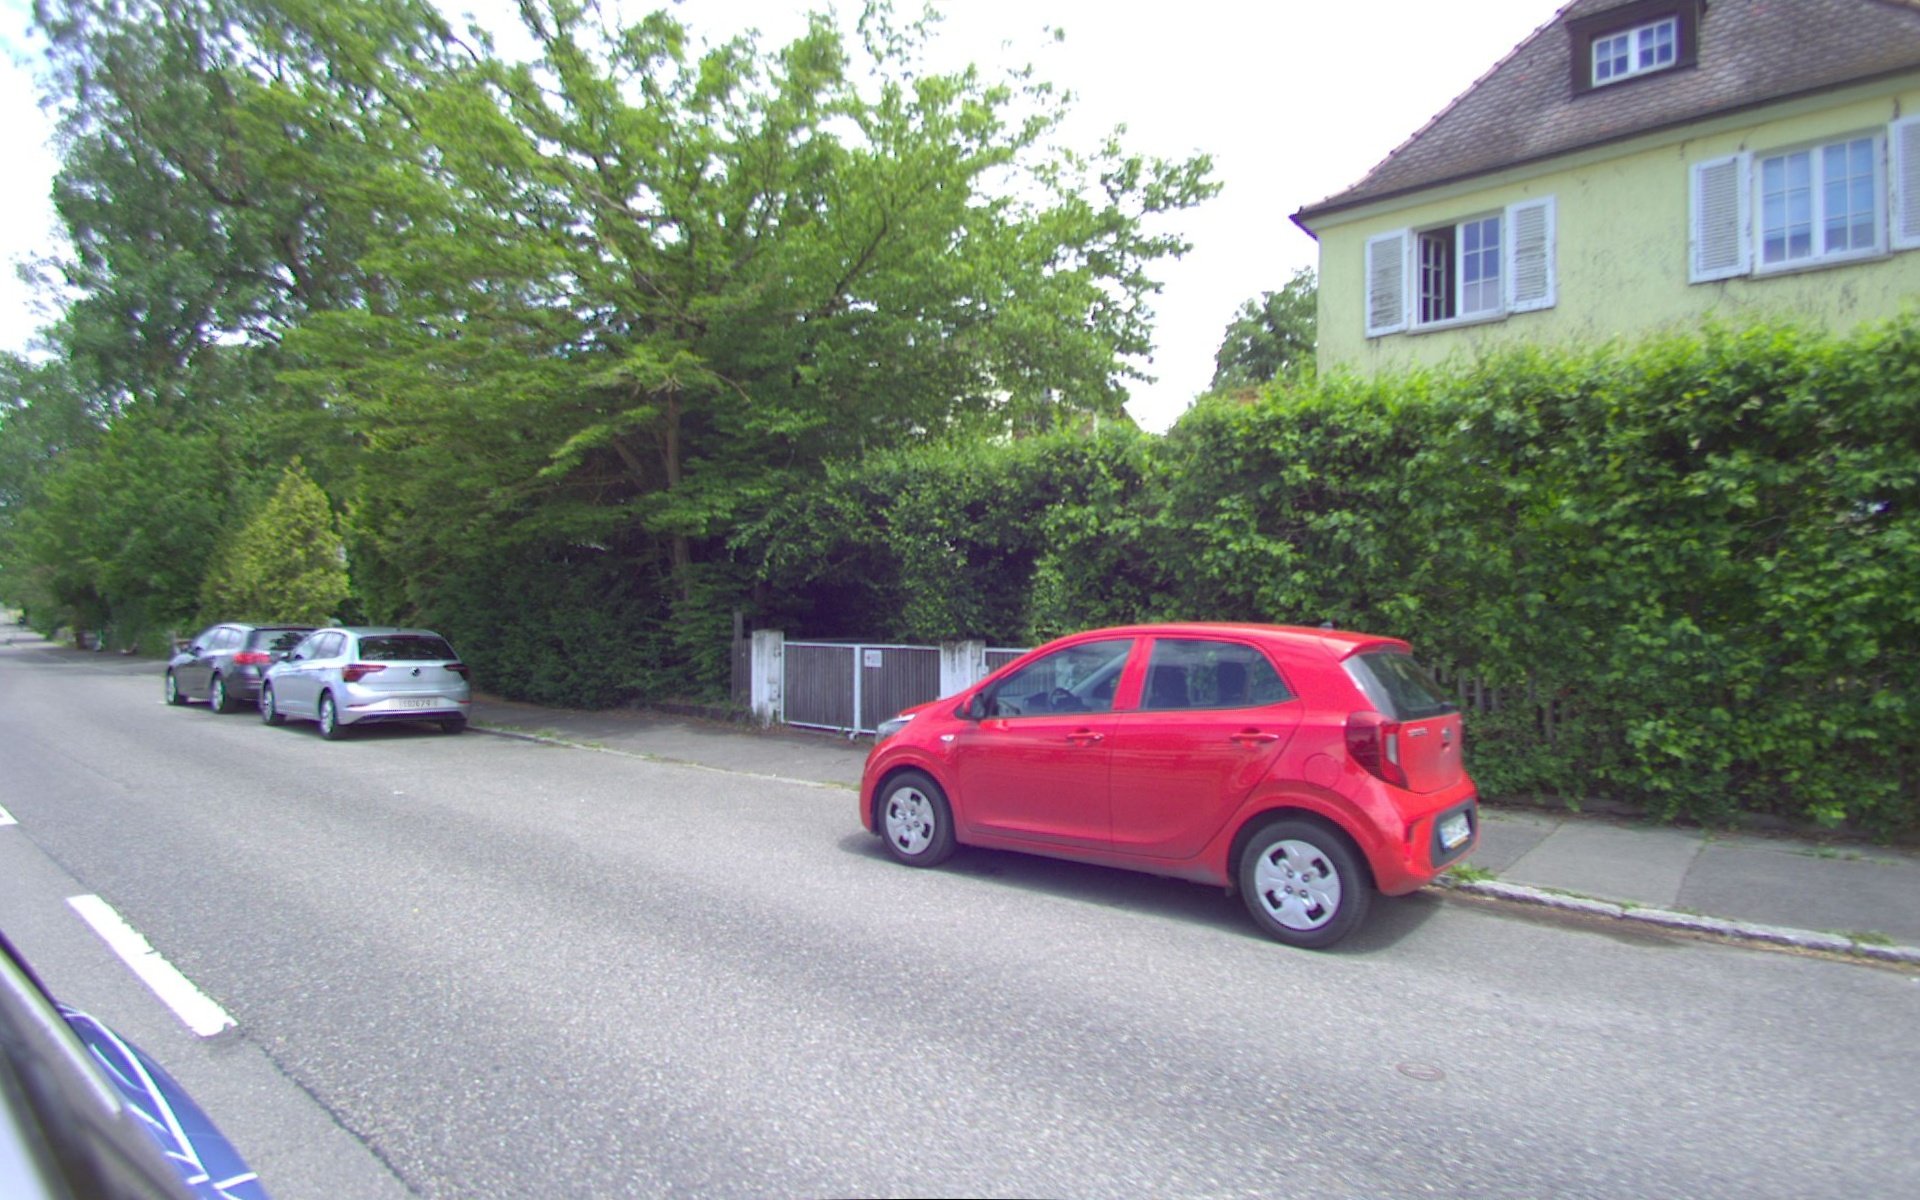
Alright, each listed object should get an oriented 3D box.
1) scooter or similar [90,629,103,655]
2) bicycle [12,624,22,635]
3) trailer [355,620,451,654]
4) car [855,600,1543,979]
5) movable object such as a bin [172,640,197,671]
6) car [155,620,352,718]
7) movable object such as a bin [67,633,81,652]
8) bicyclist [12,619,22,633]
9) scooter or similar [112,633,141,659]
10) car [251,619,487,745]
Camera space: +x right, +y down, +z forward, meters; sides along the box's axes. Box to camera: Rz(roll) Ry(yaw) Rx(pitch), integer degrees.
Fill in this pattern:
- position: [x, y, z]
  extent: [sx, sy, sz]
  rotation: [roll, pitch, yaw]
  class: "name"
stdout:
- position: [-41.196, 1.989, 48.269]
  extent: [0.403, 1.208, 1.641]
  rotation: [1, -1, -43]
  class: "scooter or similar"
- position: [-106.666, 3.345, 114.430]
  extent: [0.746, 1.236, 2.310]
  rotation: [3, -3, -44]
  class: "bicycle"
- position: [-25.239, 1.640, 45.947]
  extent: [1.726, 1.453, 3.486]
  rotation: [-1, -1, 26]
  class: "trailer"
- position: [1.197, 0.811, 5.803]
  extent: [3.511, 1.516, 1.573]
  rotation: [-1, -3, 39]
  class: "car"
- position: [-25.212, 1.803, 32.894]
  extent: [0.428, 0.937, 0.459]
  rotation: [-1, 2, 29]
  class: "movable object such as a bin"
- position: [-12.514, 1.138, 17.818]
  extent: [4.474, 1.516, 1.719]
  rotation: [-1, -3, 40]
  class: "car"
- position: [-45.379, 2.177, 51.852]
  extent: [0.507, 0.952, 0.569]
  rotation: [-1, 0, -45]
  class: "movable object such as a bin"
- position: [-106.773, 2.917, 114.564]
  extent: [0.769, 1.561, 0.870]
  rotation: [1, -2, -44]
  class: "bicyclist"
- position: [-35.139, 1.932, 42.661]
  extent: [1.208, 1.089, 0.474]
  rotation: [-1, 0, 28]
  class: "scooter or similar"
- position: [-8.382, 1.058, 14.218]
  extent: [3.962, 1.516, 1.718]
  rotation: [-1, -3, 42]
  class: "car"
